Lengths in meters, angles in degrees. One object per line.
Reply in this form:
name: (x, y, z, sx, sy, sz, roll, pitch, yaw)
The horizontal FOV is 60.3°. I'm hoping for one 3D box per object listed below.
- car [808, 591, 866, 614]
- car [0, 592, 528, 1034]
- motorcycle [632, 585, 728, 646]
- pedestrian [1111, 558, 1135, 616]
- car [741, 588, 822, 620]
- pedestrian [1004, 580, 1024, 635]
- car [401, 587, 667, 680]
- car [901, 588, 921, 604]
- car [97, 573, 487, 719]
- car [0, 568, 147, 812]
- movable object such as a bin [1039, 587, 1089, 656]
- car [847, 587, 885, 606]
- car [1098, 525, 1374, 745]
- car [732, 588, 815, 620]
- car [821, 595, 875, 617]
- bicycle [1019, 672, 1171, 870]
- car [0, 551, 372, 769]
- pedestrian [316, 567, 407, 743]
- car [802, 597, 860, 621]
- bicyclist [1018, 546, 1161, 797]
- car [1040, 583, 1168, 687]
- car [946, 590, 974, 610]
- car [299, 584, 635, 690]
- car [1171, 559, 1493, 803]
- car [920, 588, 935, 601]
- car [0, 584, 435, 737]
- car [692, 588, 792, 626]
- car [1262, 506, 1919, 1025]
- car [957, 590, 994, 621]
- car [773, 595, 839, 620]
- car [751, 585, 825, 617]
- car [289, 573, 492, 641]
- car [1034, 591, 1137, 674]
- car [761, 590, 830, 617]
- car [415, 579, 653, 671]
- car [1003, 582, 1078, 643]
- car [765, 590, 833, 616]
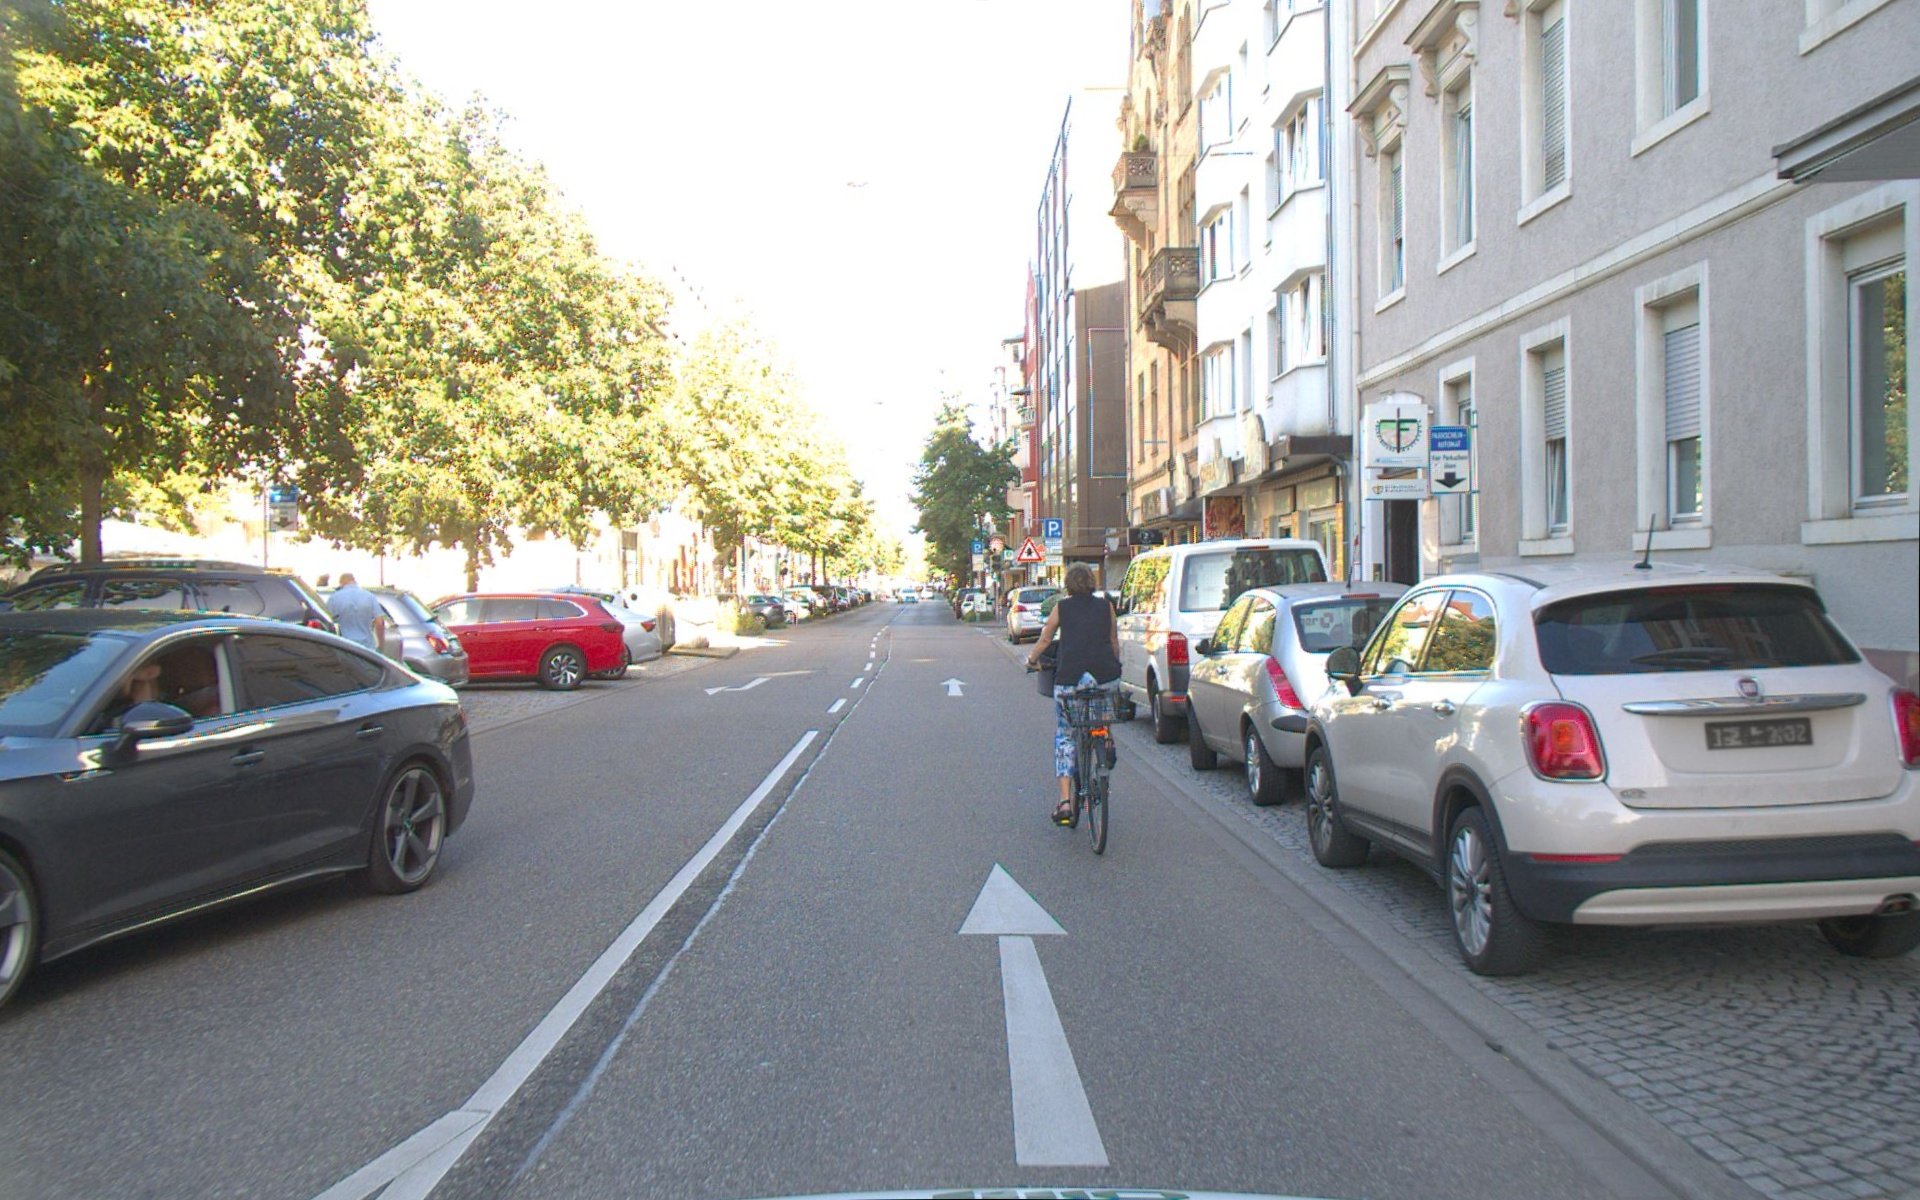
car: (-8.928, 0.182, 120.406, 3.904, 1.534, 2.001, 2, -1, 2)
car: (-3.779, 0.709, 6.924, 1.870, 1.441, 4.814, 0, -1, 11)
motorcycle: (-7.816, 0.433, 46.223, 2.420, 1.632, 1.000, -1, 0, 17)
pedestrian: (5.428, -0.421, 54.996, 0.632, 1.904, 0.627, 0, -1, 21)
car: (-9.121, 0.209, 84.657, 3.905, 1.534, 2.000, 1, 0, 0)
pedestrian: (1.746, 0.236, 53.360, 0.601, 1.765, 0.634, 1, -1, 0)
car: (-7.344, 0.586, 28.593, 4.175, 1.503, 1.719, 1, -1, -29)
car: (-5.042, -0.389, 170.501, 1.953, 1.583, 3.999, 1, -1, 0)
car: (-7.829, 0.536, 19.685, 3.909, 1.626, 1.748, 1, -1, -5)
car: (-7.353, 0.540, 10.207, 3.955, 1.495, 1.851, 1, -1, -36)
movable object such as a bin: (2.412, 0.487, 38.295, 1.051, 1.482, 1.493, -3, 1, 4)
car: (-10.496, -0.393, 185.038, 3.902, 2.049, 2.002, 0, 0, 9)
car: (2.810, 0.303, 18.087, 1.953, 2.040, 5.115, -1, 0, -2)
car: (-9.255, 0.185, 82.414, 3.905, 1.534, 2.000, 1, 0, 0)
car: (-8.682, 0.469, 128.449, 3.904, 1.534, 2.001, 2, -1, 2)
bicycle: (0.773, 0.974, 10.219, 0.639, 0.975, 2.697, 1, -1, -2)
car: (-7.148, 0.468, 14.064, 3.924, 1.697, 1.991, 1, 0, -17)
pedestrian: (-5.849, 0.535, 16.193, 0.686, 1.678, 0.645, 1, -1, -8)
car: (-9.176, 0.643, 117.744, 3.904, 1.534, 2.001, 2, -1, 2)
bicyclist: (0.783, 0.428, 10.312, 0.770, 1.478, 1.095, 1, -1, -2)
car: (2.348, 0.572, 27.790, 1.684, 1.541, 3.581, -3, -1, -2)
car: (-0.030, 0.018, 122.357, 1.953, 1.478, 3.999, 0, 0, -2)
car: (-7.572, 0.570, 25.478, 4.773, 1.514, 1.751, 1, -1, -25)
car: (2.762, 0.568, 13.080, 1.664, 1.632, 3.756, -1, -1, 0)
car: (-4.045, -0.695, 208.572, 1.832, 1.583, 3.999, 1, -1, 0)
car: (-7.625, 0.610, 17.183, 3.915, 1.474, 1.798, 1, -1, -11)
car: (-9.136, 0.301, 69.593, 3.905, 1.534, 2.000, 1, 0, 0)
car: (2.847, 0.601, 8.154, 1.710, 1.769, 4.959, 1, -1, -1)
car: (0.876, 0.308, 89.949, 1.952, 1.646, 4.010, 1, -1, 1)
car: (-9.558, 0.473, 102.990, 3.906, 1.534, 1.999, 1, 0, -1)
car: (-9.574, 0.063, 92.166, 3.905, 1.703, 2.089, 1, -1, 0)
car: (-16.185, 0.216, 47.025, 5.203, 1.831, 2.144, 1, -1, -28)
car: (2.345, 0.608, 31.693, 1.644, 1.473, 3.784, 1, -1, -1)
car: (-9.775, 0.212, 98.365, 3.905, 1.534, 1.894, 1, -1, 0)
car: (-7.966, 0.479, 31.007, 3.950, 1.614, 1.810, 1, -1, -33)
car: (2.316, 0.374, 48.924, 1.860, 1.704, 4.823, 1, -1, -1)
car: (-9.743, 0.191, 100.358, 3.905, 1.534, 2.000, 1, 0, 0)
